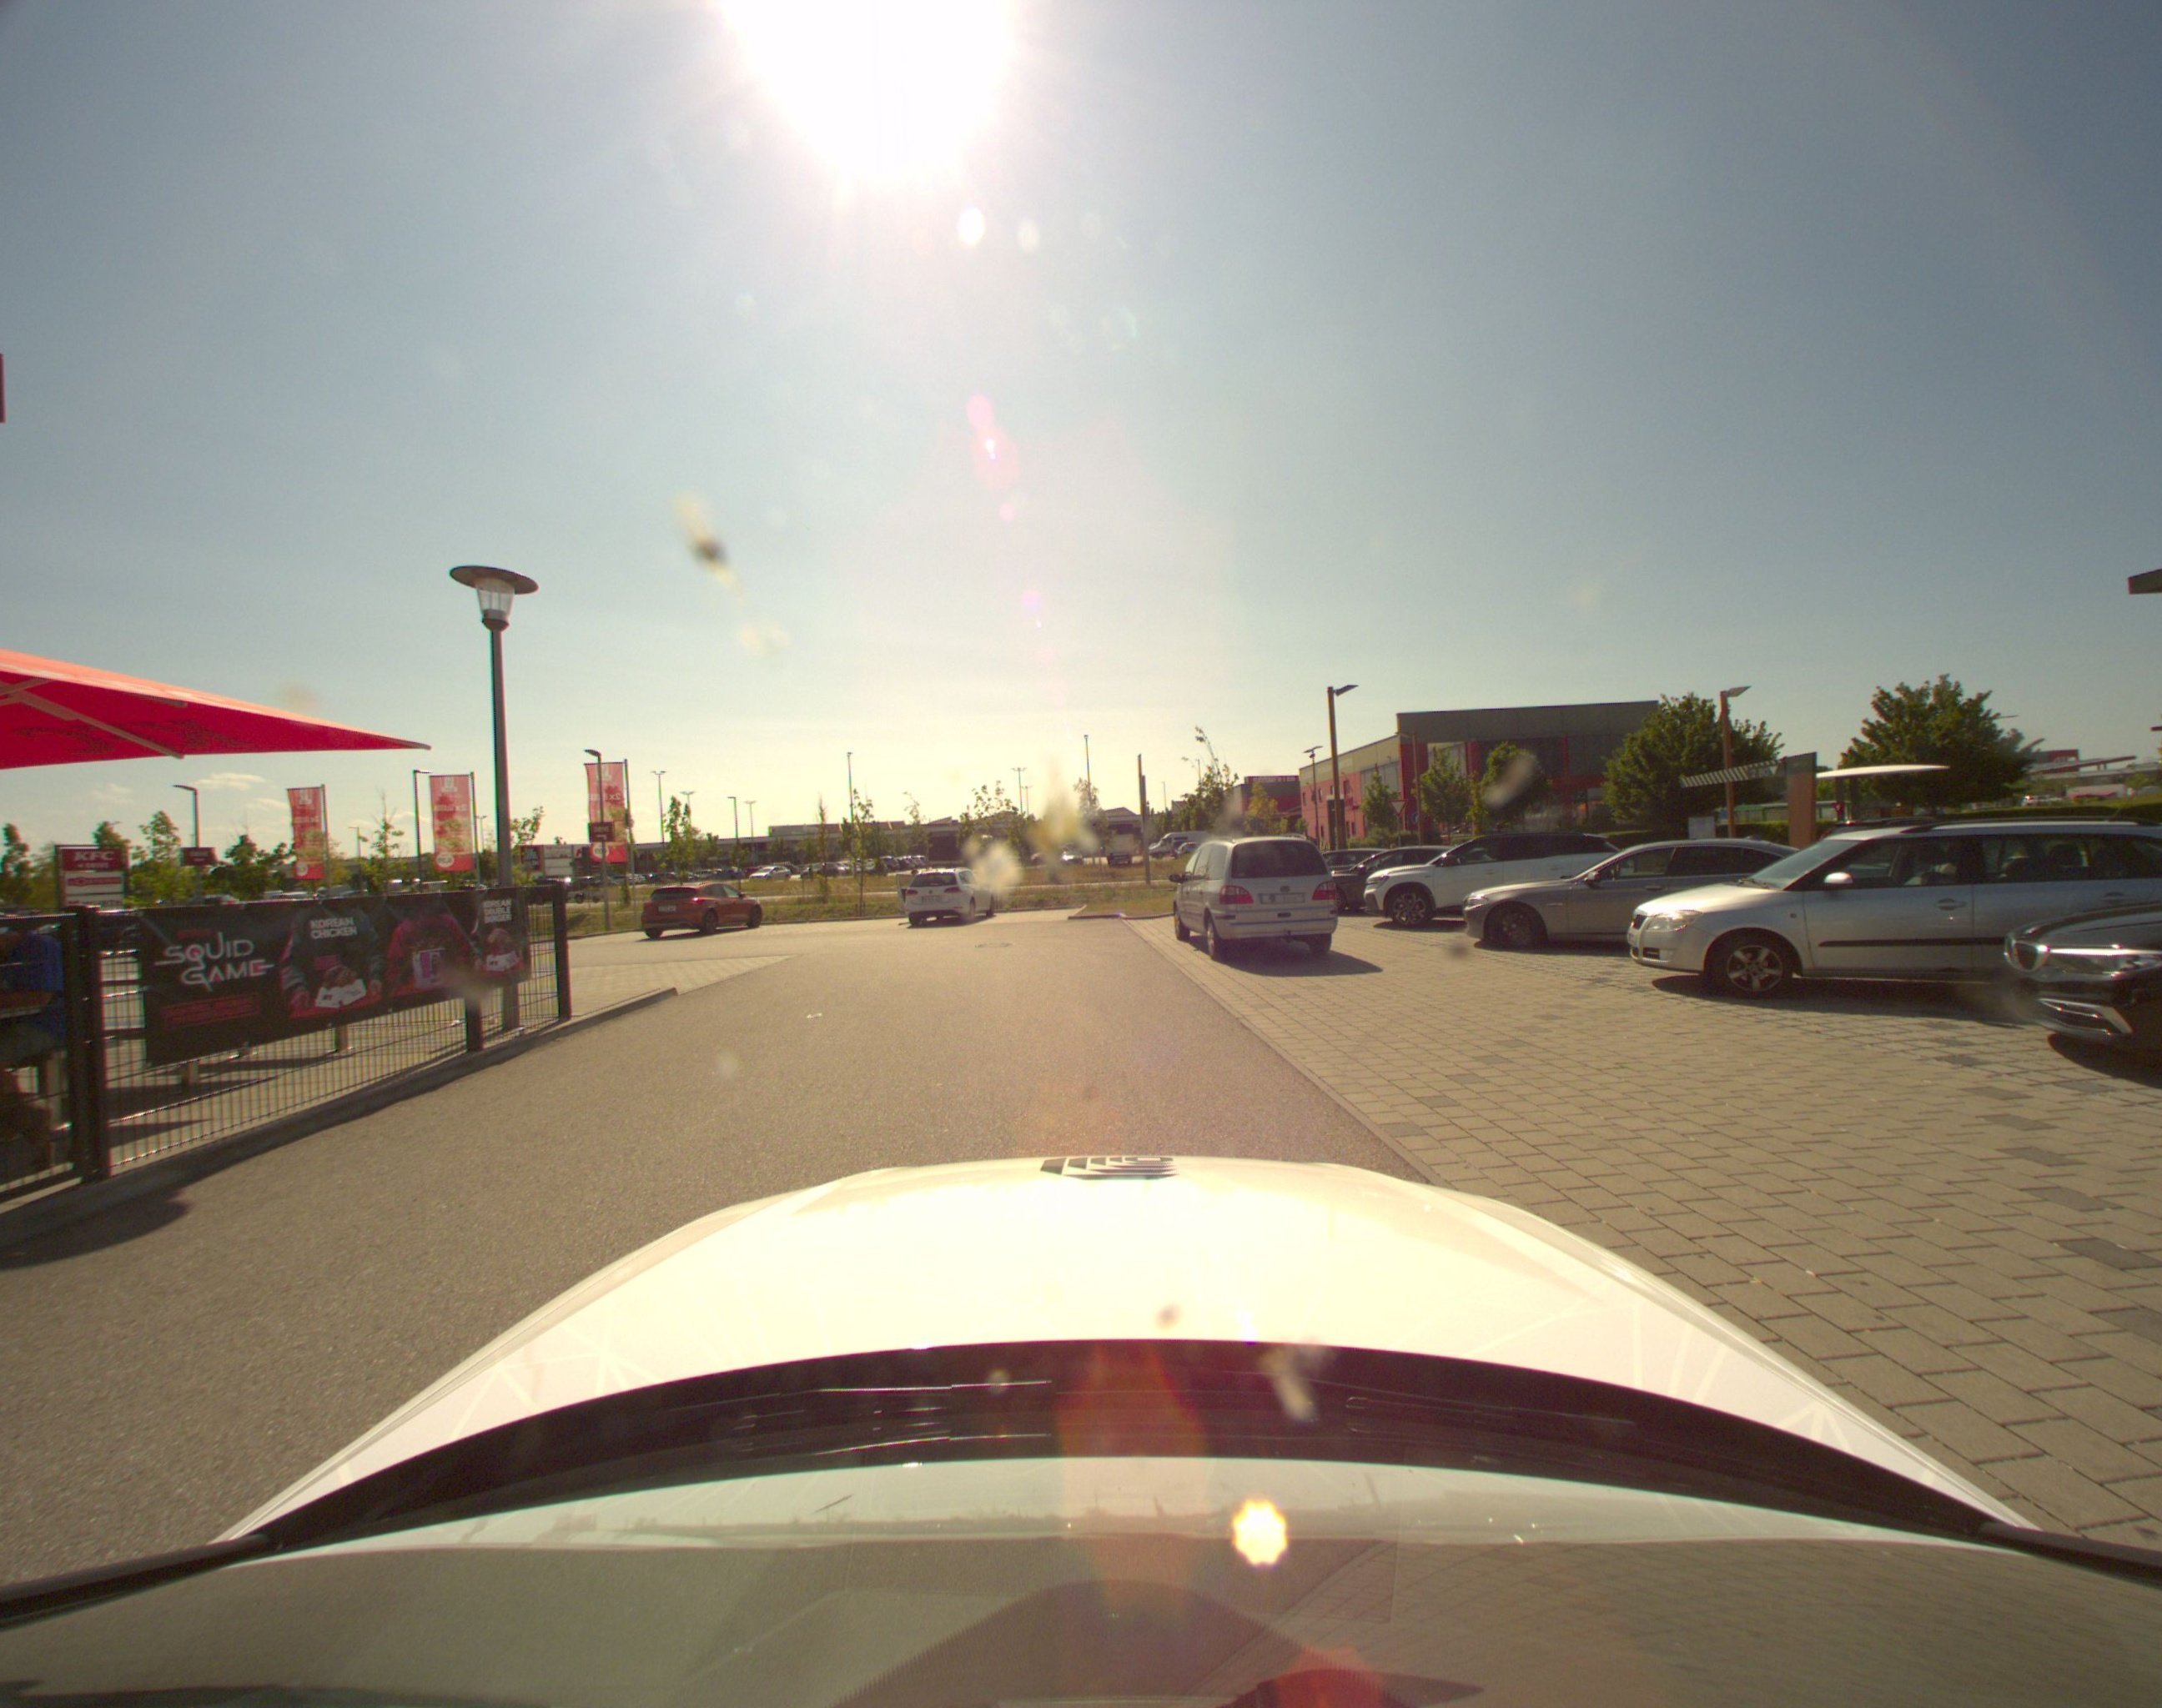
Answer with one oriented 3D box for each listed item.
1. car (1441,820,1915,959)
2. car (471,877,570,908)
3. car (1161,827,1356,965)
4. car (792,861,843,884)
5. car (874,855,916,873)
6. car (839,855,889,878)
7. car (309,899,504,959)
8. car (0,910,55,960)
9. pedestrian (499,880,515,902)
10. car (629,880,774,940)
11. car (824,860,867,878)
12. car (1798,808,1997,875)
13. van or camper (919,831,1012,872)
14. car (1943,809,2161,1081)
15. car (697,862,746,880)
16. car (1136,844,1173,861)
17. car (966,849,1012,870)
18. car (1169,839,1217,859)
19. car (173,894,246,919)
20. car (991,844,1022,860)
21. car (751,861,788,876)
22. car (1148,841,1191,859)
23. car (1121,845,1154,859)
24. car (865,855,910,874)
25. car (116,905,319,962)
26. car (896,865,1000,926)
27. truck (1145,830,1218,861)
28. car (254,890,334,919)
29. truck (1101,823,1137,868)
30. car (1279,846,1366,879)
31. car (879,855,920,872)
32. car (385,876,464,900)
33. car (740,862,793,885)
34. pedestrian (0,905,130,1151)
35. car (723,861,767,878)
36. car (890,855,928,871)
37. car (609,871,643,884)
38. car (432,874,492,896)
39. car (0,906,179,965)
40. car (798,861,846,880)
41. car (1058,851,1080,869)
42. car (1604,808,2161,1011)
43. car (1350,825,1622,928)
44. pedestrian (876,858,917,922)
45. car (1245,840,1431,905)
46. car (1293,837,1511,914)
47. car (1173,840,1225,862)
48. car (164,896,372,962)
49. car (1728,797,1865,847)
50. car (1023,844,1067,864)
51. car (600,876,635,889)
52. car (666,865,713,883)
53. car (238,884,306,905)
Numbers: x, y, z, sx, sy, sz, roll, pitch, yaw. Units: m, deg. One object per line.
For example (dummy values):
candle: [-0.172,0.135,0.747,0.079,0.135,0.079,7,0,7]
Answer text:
car: [7.722,0.445,11.114,4.783,1.526,1.988,-2,0,35]
car: [-37.472,2.558,54.525,5.189,1.731,1.989,-2,0,0]
car: [2.608,0.576,13.232,1.823,1.748,4.677,-3,0,-3]
car: [-23.465,1.600,72.717,1.933,1.855,4.427,-2,0,20]
car: [-21.420,1.104,94.050,4.381,1.855,1.953,-2,0,-4]
car: [-18.893,1.071,71.141,1.933,1.855,4.427,-2,0,20]
car: [-20.744,2.255,25.354,1.724,1.413,4.614,-3,-1,9]
car: [-39.864,3.006,28.599,1.878,1.703,4.344,-3,-1,9]
pedestrian: [-42.239,2.731,59.907,0.659,1.556,0.629,-2,0,23]
car: [-10.971,1.566,23.924,1.818,1.469,4.359,-3,-1,5]
car: [-27.239,1.690,94.455,4.381,1.855,1.953,-2,0,-4]
car: [24.035,-0.357,24.045,4.219,1.691,1.992,-3,0,-8]
van or camper: [-9.927,-0.182,69.470,7.952,3.101,2.435,-2,0,30]
car: [7.943,0.412,4.071,4.721,1.486,1.988,-2,0,39]
car: [-41.145,1.936,93.268,4.549,1.855,1.953,-2,0,-4]
car: [9.216,-0.187,102.904,4.381,1.855,1.953,-2,0,-4]
car: [-10.139,0.579,89.423,4.912,2.013,2.077,-2,0,-8]
car: [11.054,-0.482,80.788,4.381,1.855,1.953,-2,0,-4]
car: [-65.634,3.975,61.320,4.552,1.664,1.887,-2,0,17]
car: [-10.199,-0.281,111.419,3.975,2.013,2.000,-2,0,-1]
car: [-43.430,2.034,113.674,4.381,1.855,1.953,-2,0,-4]
car: [9.791,-0.428,90.226,4.381,1.855,1.953,-2,0,-4]
car: [8.065,-0.264,116.666,4.381,1.855,1.953,-2,0,-4]
car: [-21.134,1.093,89.160,4.381,1.855,1.953,-2,0,-4]
car: [-27.638,2.490,26.307,1.758,1.410,4.215,-3,-1,7]
car: [-3.649,1.109,23.208,1.818,1.469,4.487,-3,-1,5]
truck: [10.247,-0.856,83.275,7.020,2.814,1.953,-2,0,-4]
car: [-56.128,3.591,58.087,4.361,1.845,2.008,-2,0,14]
truck: [3.199,-0.690,68.567,2.748,3.480,6.837,-2,0,3]
car: [12.410,0.418,41.942,3.973,1.495,1.677,-2,0,1]
car: [-21.422,1.104,96.403,4.381,1.855,1.953,-2,0,-4]
car: [-71.296,3.623,88.570,2.790,2.237,6.330,-2,0,10]
car: [-28.384,1.781,73.632,1.977,1.855,4.308,-2,0,20]
pedestrian: [-6.018,0.956,4.576,0.614,1.273,0.620,-2,0,-19]
car: [-41.718,1.961,101.089,4.549,1.855,1.953,-2,0,-4]
car: [-21.566,1.111,102.188,4.381,1.855,1.953,-2,0,-4]
car: [-59.104,3.049,105.877,3.463,1.552,1.662,-2,0,-9]
car: [-66.049,3.298,87.019,1.983,2.013,5.189,-2,0,7]
car: [-35.175,2.812,28.476,1.875,1.638,4.470,-3,-1,17]
car: [-27.380,1.733,86.272,4.381,1.855,1.953,-2,0,-4]
car: [-0.967,0.494,69.034,1.643,1.459,3.968,-2,0,2]
car: [7.470,0.449,7.574,4.154,1.526,1.987,-2,0,26]
car: [7.297,0.422,14.912,4.153,1.654,1.988,-2,0,29]
pedestrian: [-5.379,1.041,23.780,0.989,1.809,0.725,-3,-1,-3]
car: [6.831,0.508,21.871,4.277,1.526,1.988,-2,1,41]
car: [7.145,0.474,18.221,4.152,1.526,1.988,-2,0,34]
car: [10.938,-0.262,75.575,4.381,1.855,1.953,-2,0,-4]
car: [-25.410,2.294,25.703,1.933,1.638,4.242,-3,-1,9]
car: [35.071,-1.542,39.998,5.077,2.197,1.998,-2,0,-3]
car: [-3.632,-0.021,81.829,4.244,1.855,1.868,-2,0,-4]
car: [-58.724,3.607,103.162,3.463,1.552,1.662,-2,0,-9]
car: [-49.740,2.493,103.467,4.912,2.013,2.077,-2,0,-8]
car: [-88.530,4.431,89.264,1.983,2.013,5.086,-2,0,7]
